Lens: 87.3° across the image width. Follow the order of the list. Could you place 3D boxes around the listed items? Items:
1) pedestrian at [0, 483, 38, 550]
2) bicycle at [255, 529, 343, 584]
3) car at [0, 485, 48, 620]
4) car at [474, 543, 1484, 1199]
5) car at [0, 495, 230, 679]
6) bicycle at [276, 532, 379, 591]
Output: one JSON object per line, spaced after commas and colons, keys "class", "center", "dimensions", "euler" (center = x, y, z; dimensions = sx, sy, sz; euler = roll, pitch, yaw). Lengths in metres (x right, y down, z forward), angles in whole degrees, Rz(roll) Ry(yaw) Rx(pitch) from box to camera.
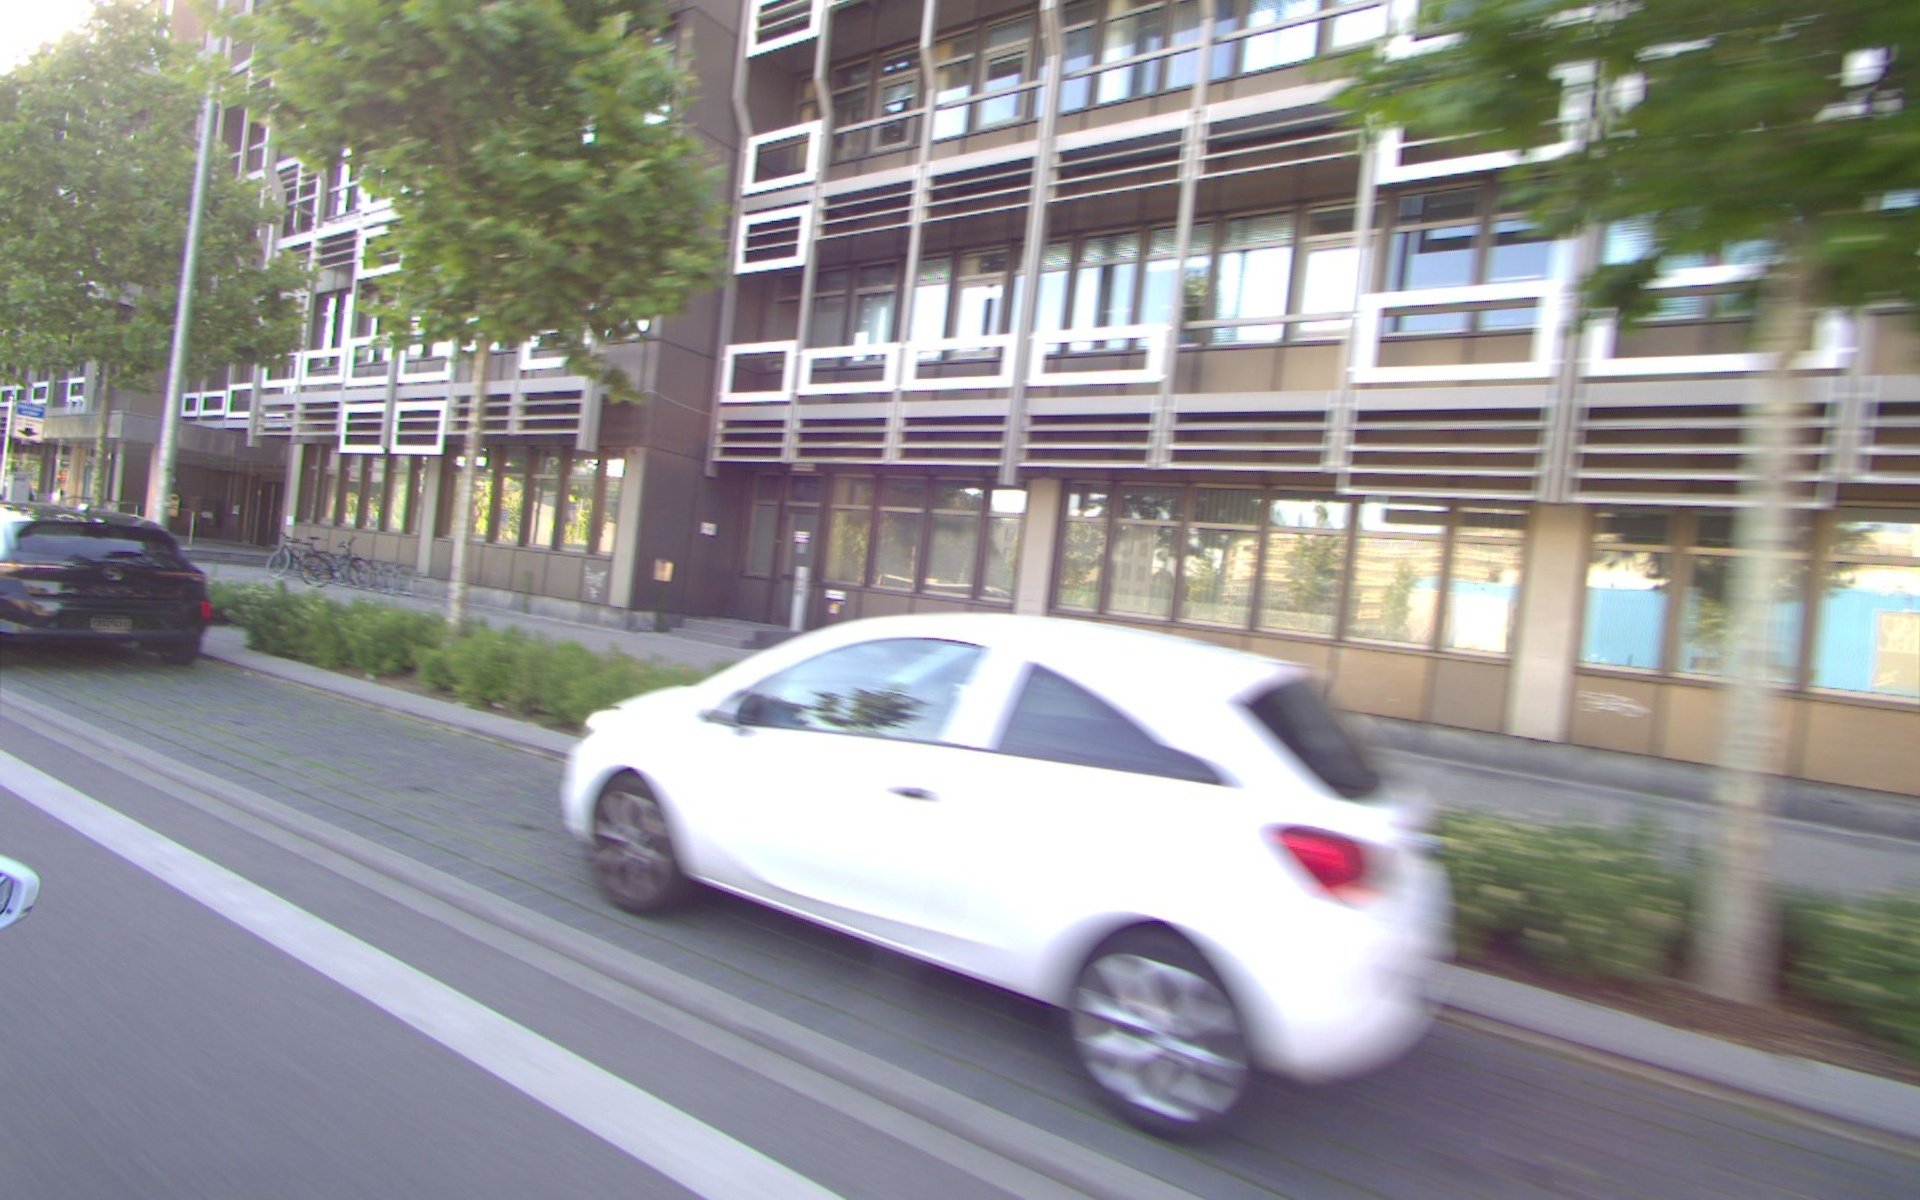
{"class": "pedestrian", "center": [-25.617, -2.270, 27.120], "dimensions": [1.118, 1.669, 0.789], "euler": [7, 1, 34]}
{"class": "bicycle", "center": [-15.473, -1.001, 23.584], "dimensions": [0.386, 1.096, 1.627], "euler": [7, 1, 35]}
{"class": "car", "center": [-13.751, -0.809, 13.069], "dimensions": [4.147, 1.643, 1.728], "euler": [7, 2, 32]}
{"class": "car", "center": [-0.160, 0.716, 4.464], "dimensions": [4.136, 1.509, 1.663], "euler": [7, 2, 34]}
{"class": "car", "center": [-9.310, -0.257, 10.069], "dimensions": [4.305, 1.468, 1.794], "euler": [7, 2, 33]}
{"class": "bicycle", "center": [-13.780, -0.821, 21.972], "dimensions": [0.385, 1.107, 1.902], "euler": [7, 1, 28]}
